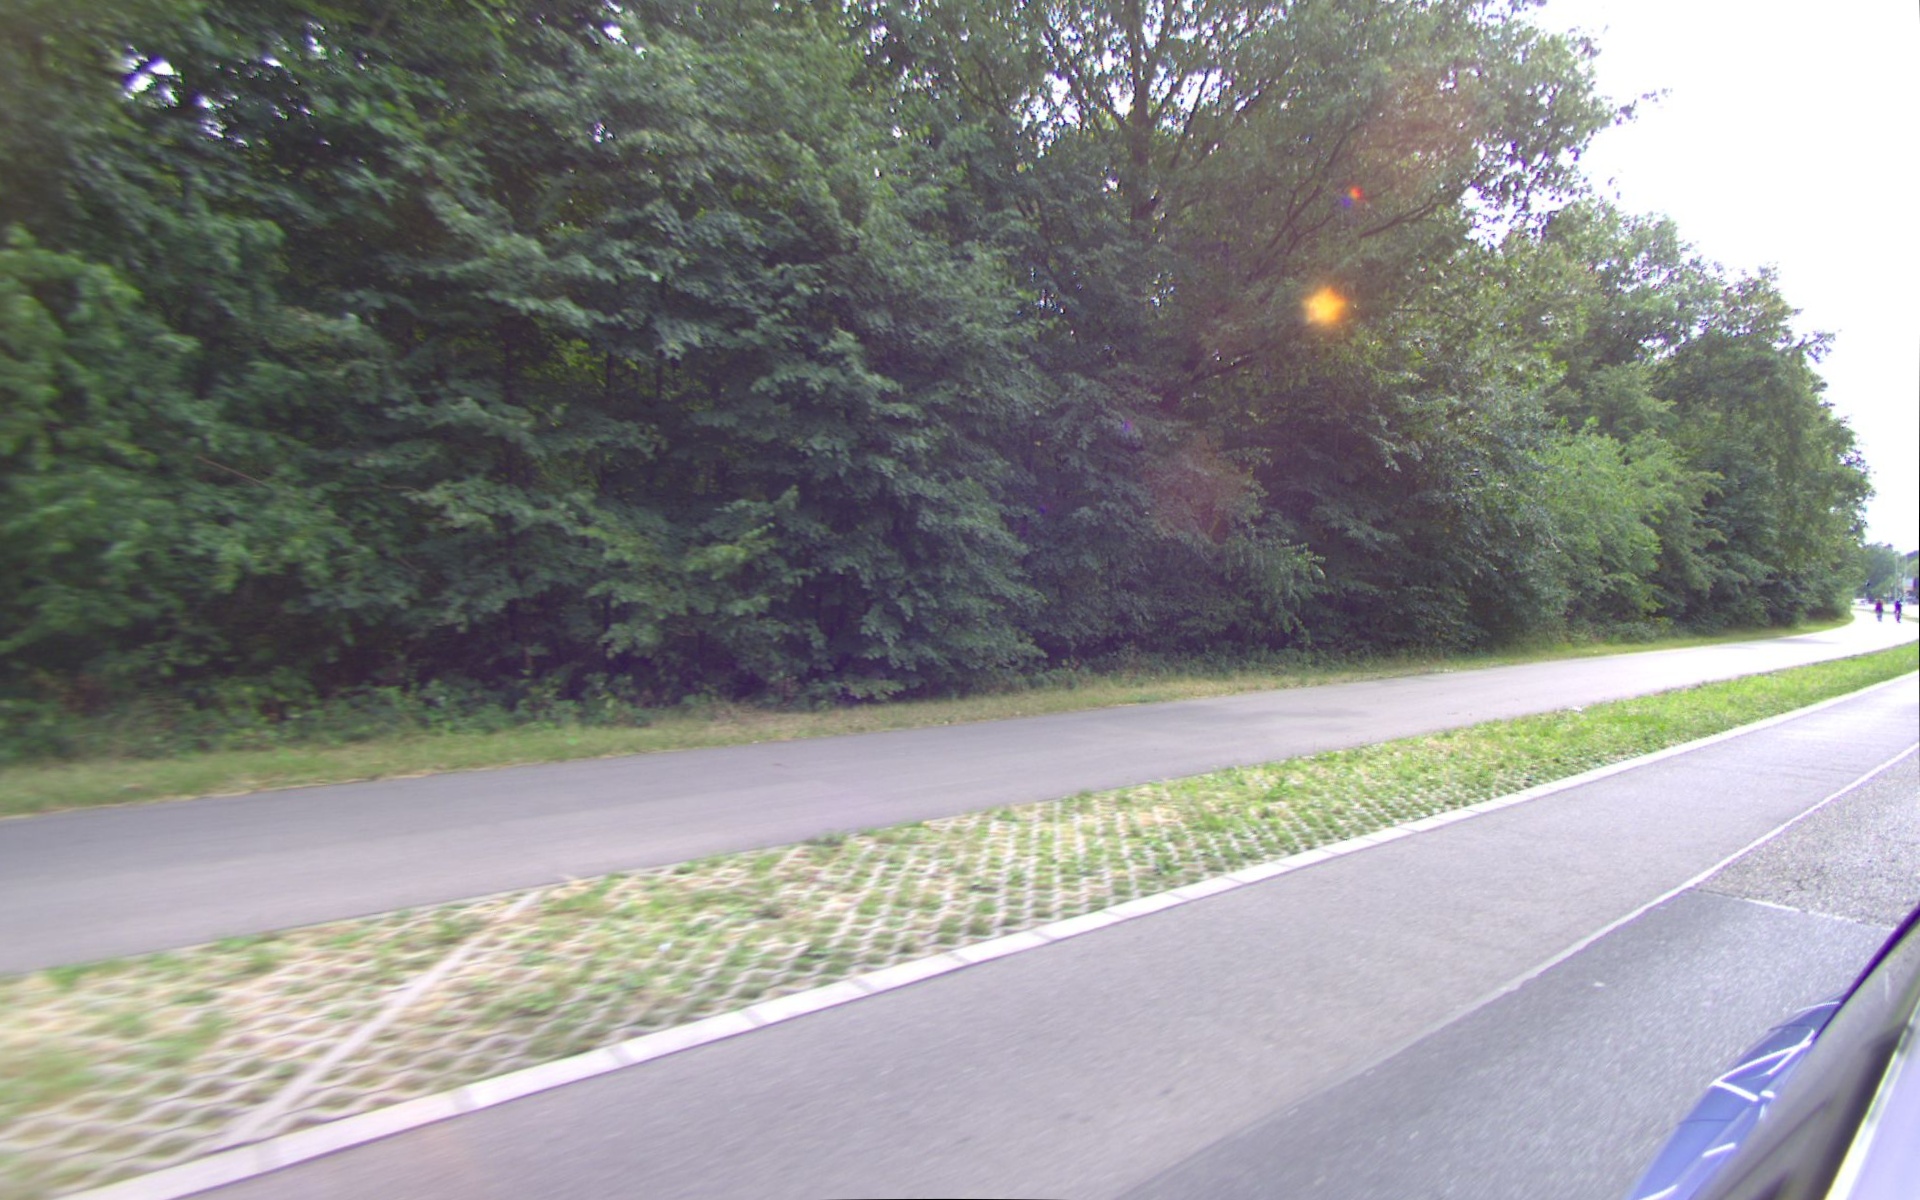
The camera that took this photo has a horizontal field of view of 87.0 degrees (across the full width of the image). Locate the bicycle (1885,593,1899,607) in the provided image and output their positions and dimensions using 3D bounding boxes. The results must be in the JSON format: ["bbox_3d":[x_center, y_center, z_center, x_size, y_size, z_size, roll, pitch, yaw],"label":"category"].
[{"bbox_3d":[64.788,0.013,70.371,0.565,0.923,1.859,4,2,40],"label":"bicycle"}]

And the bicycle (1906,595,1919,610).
[{"bbox_3d":[65.561,0.167,69.618,0.565,0.923,1.729,4,3,40],"label":"bicycle"}]

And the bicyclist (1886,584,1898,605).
[{"bbox_3d":[64.803,-0.398,70.388,0.519,1.433,1.169,-1,0,40],"label":"bicyclist"}]

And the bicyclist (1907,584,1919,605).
[{"bbox_3d":[65.579,-0.387,69.642,0.519,1.433,1.169,1,1,40],"label":"bicyclist"}]
